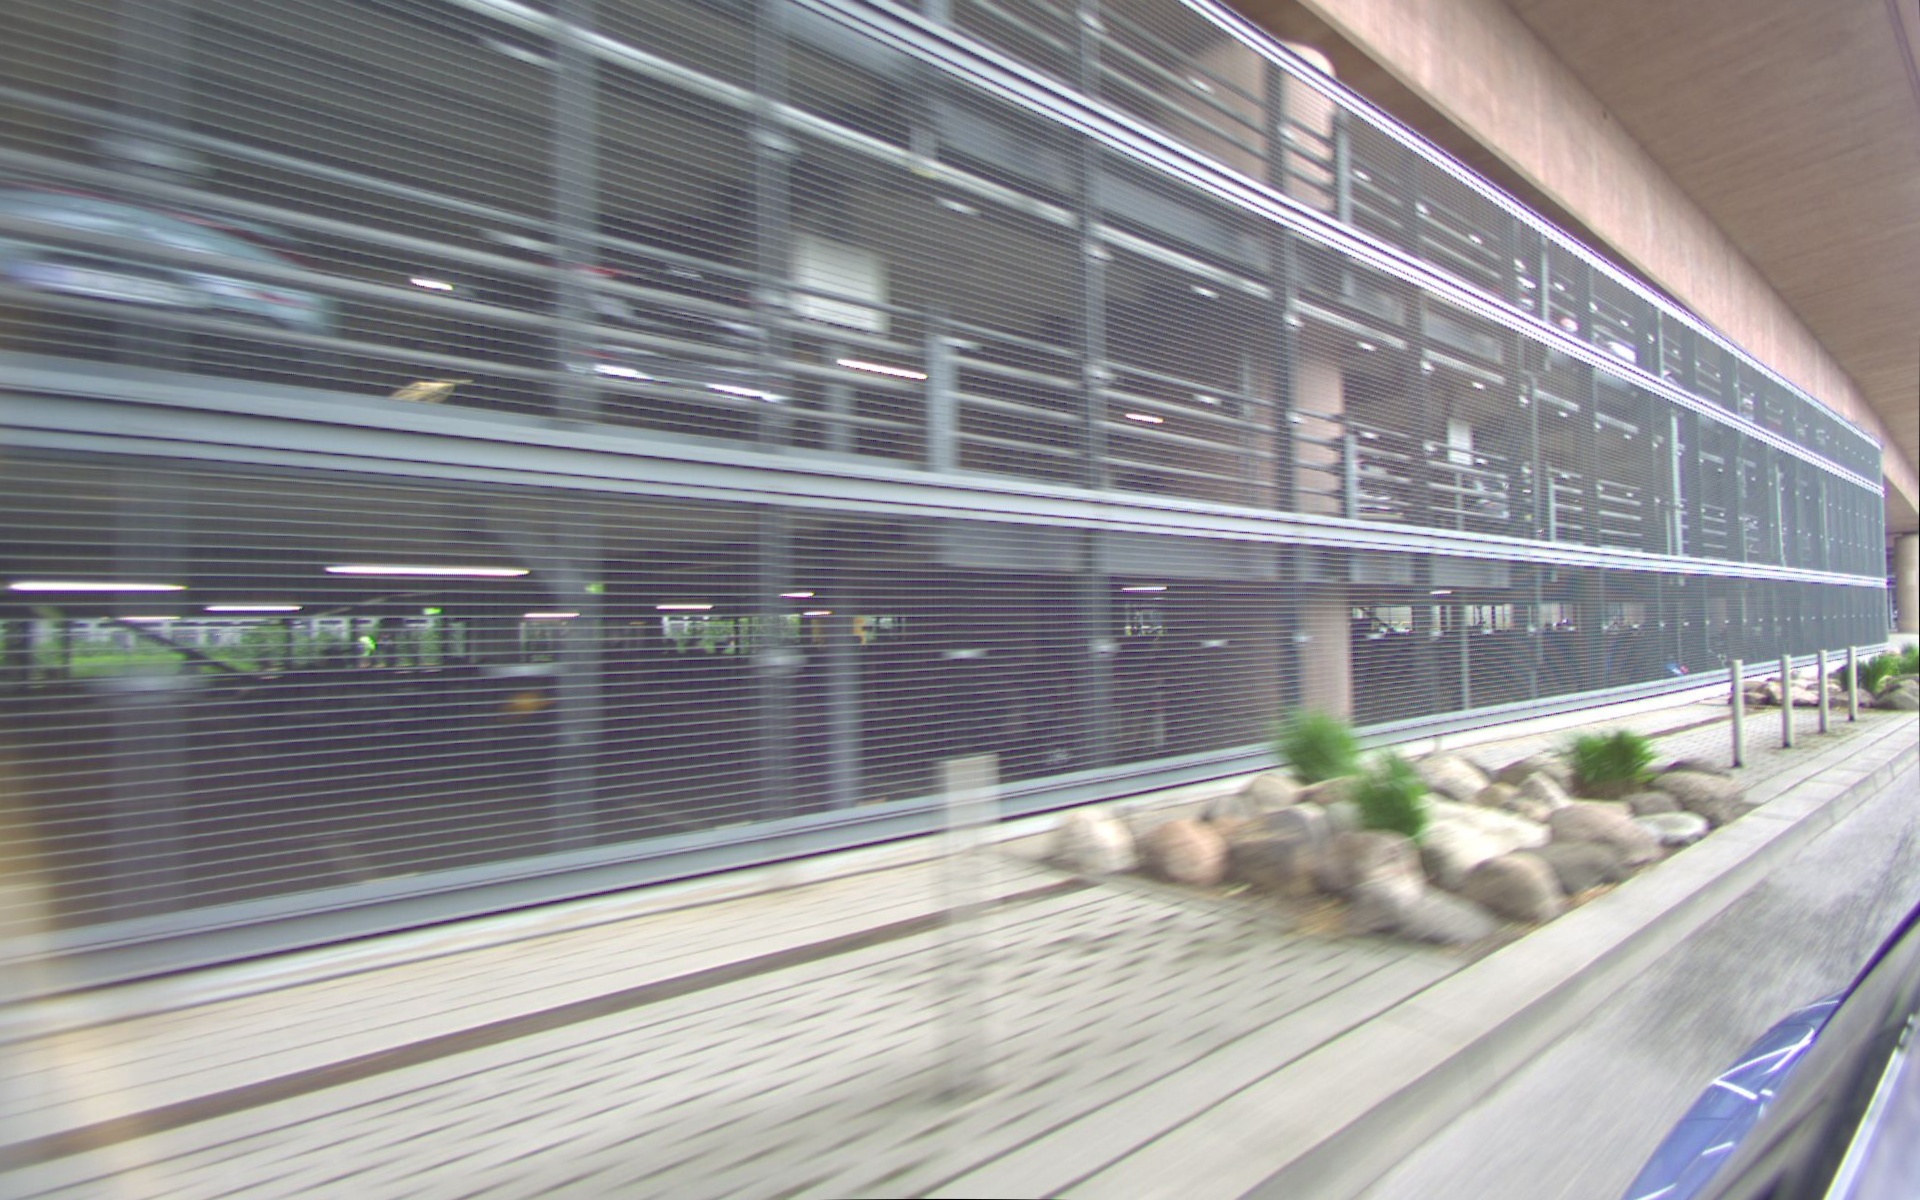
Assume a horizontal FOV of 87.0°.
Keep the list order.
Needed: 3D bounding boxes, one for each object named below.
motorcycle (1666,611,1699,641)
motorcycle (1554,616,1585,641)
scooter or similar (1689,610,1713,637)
[{"bbox_3d":[32.665,1.150,45.741,2.091,1.319,0.607,0,-2,-38],"label":"motorcycle"},{"bbox_3d":[30.074,1.407,49.903,2.041,1.236,0.673,2,-3,-40],"label":"motorcycle"},{"bbox_3d":[33.095,1.055,45.205,1.225,1.149,0.400,2,-3,-30],"label":"scooter or similar"}]
